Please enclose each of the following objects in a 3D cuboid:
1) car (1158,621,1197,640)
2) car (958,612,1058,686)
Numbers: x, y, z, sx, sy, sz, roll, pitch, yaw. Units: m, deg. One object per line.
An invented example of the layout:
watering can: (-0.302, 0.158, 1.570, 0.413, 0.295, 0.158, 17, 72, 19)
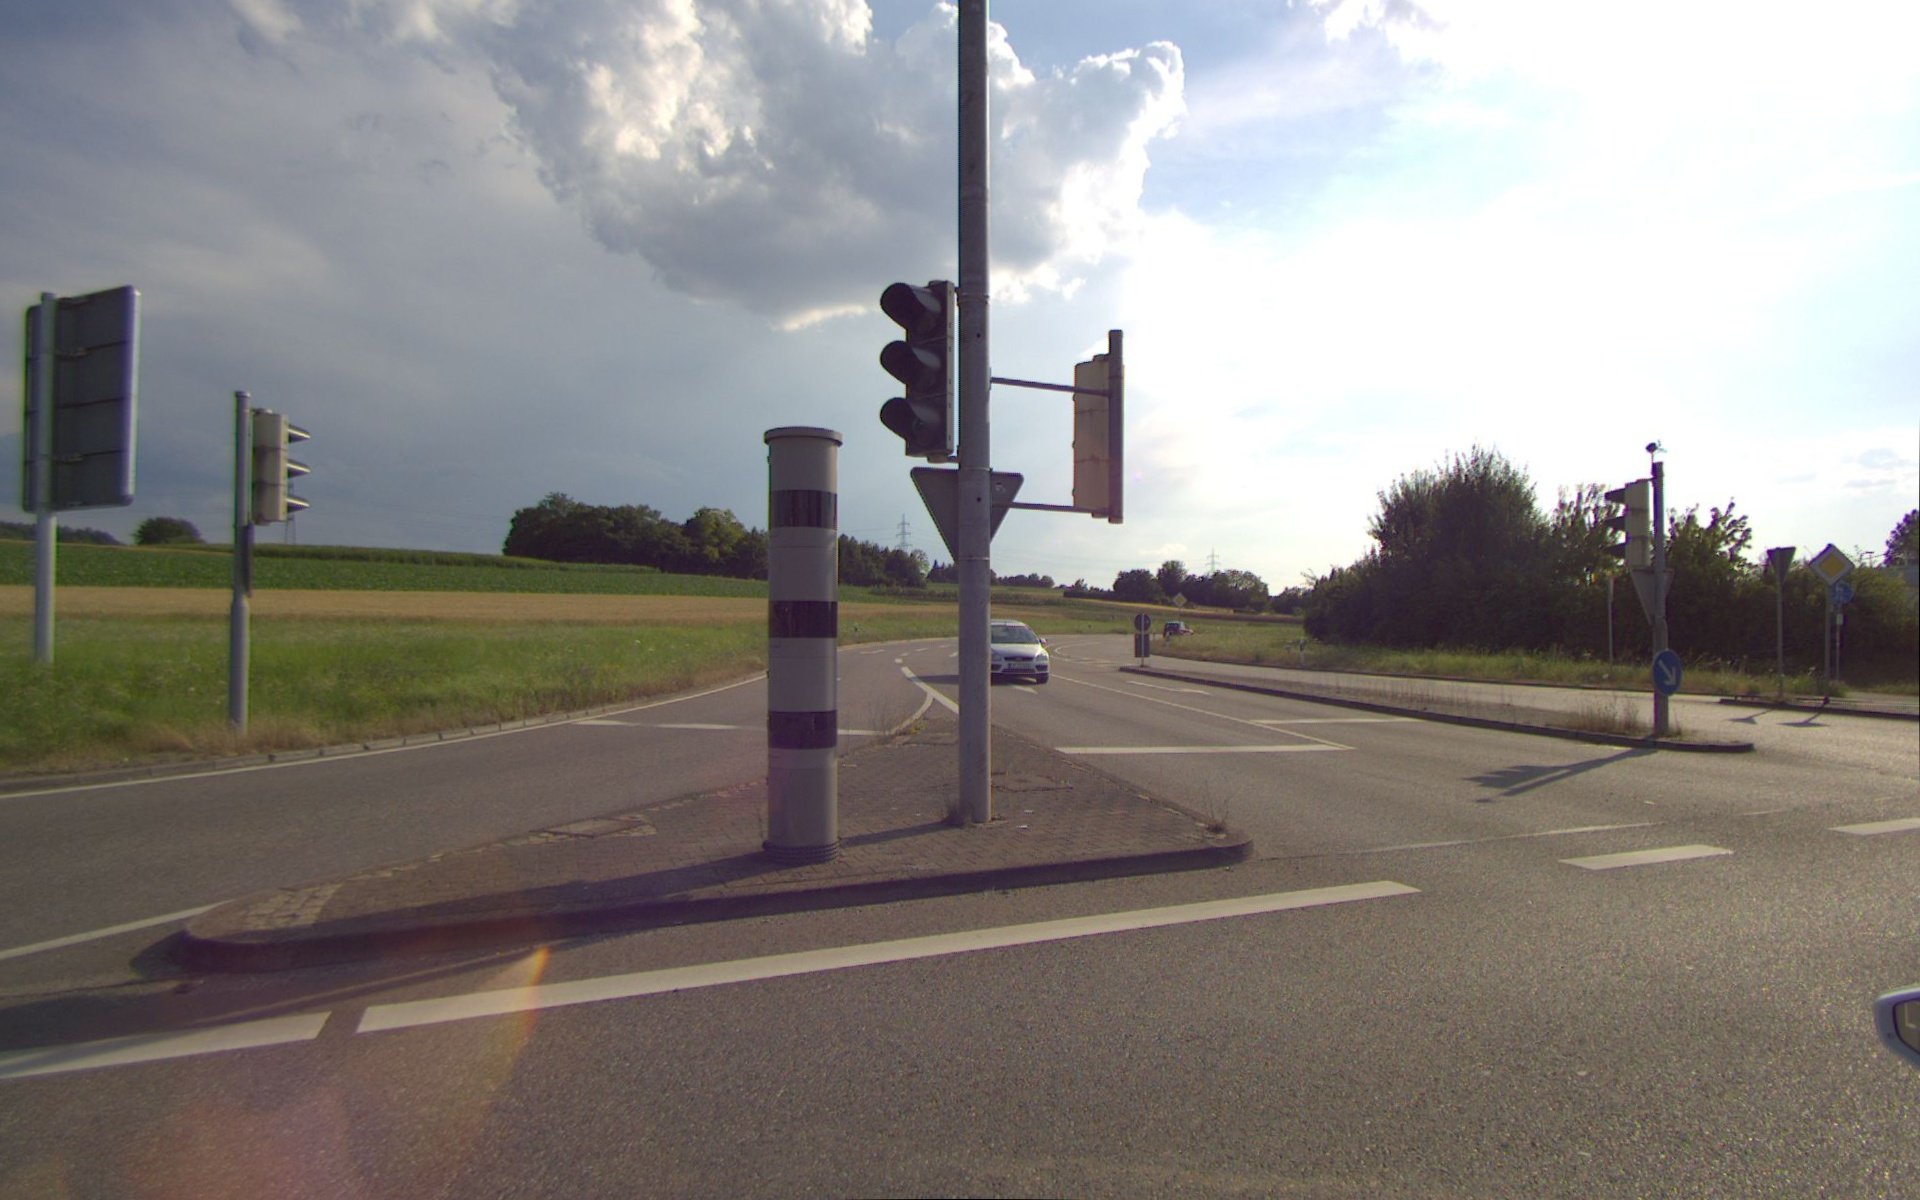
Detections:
car: (17.861, 2.502, 82.272, 1.700, 1.520, 3.844, 2, 0, 36)
car: (1.127, 1.179, 25.752, 1.787, 1.549, 4.347, 2, 1, -7)
